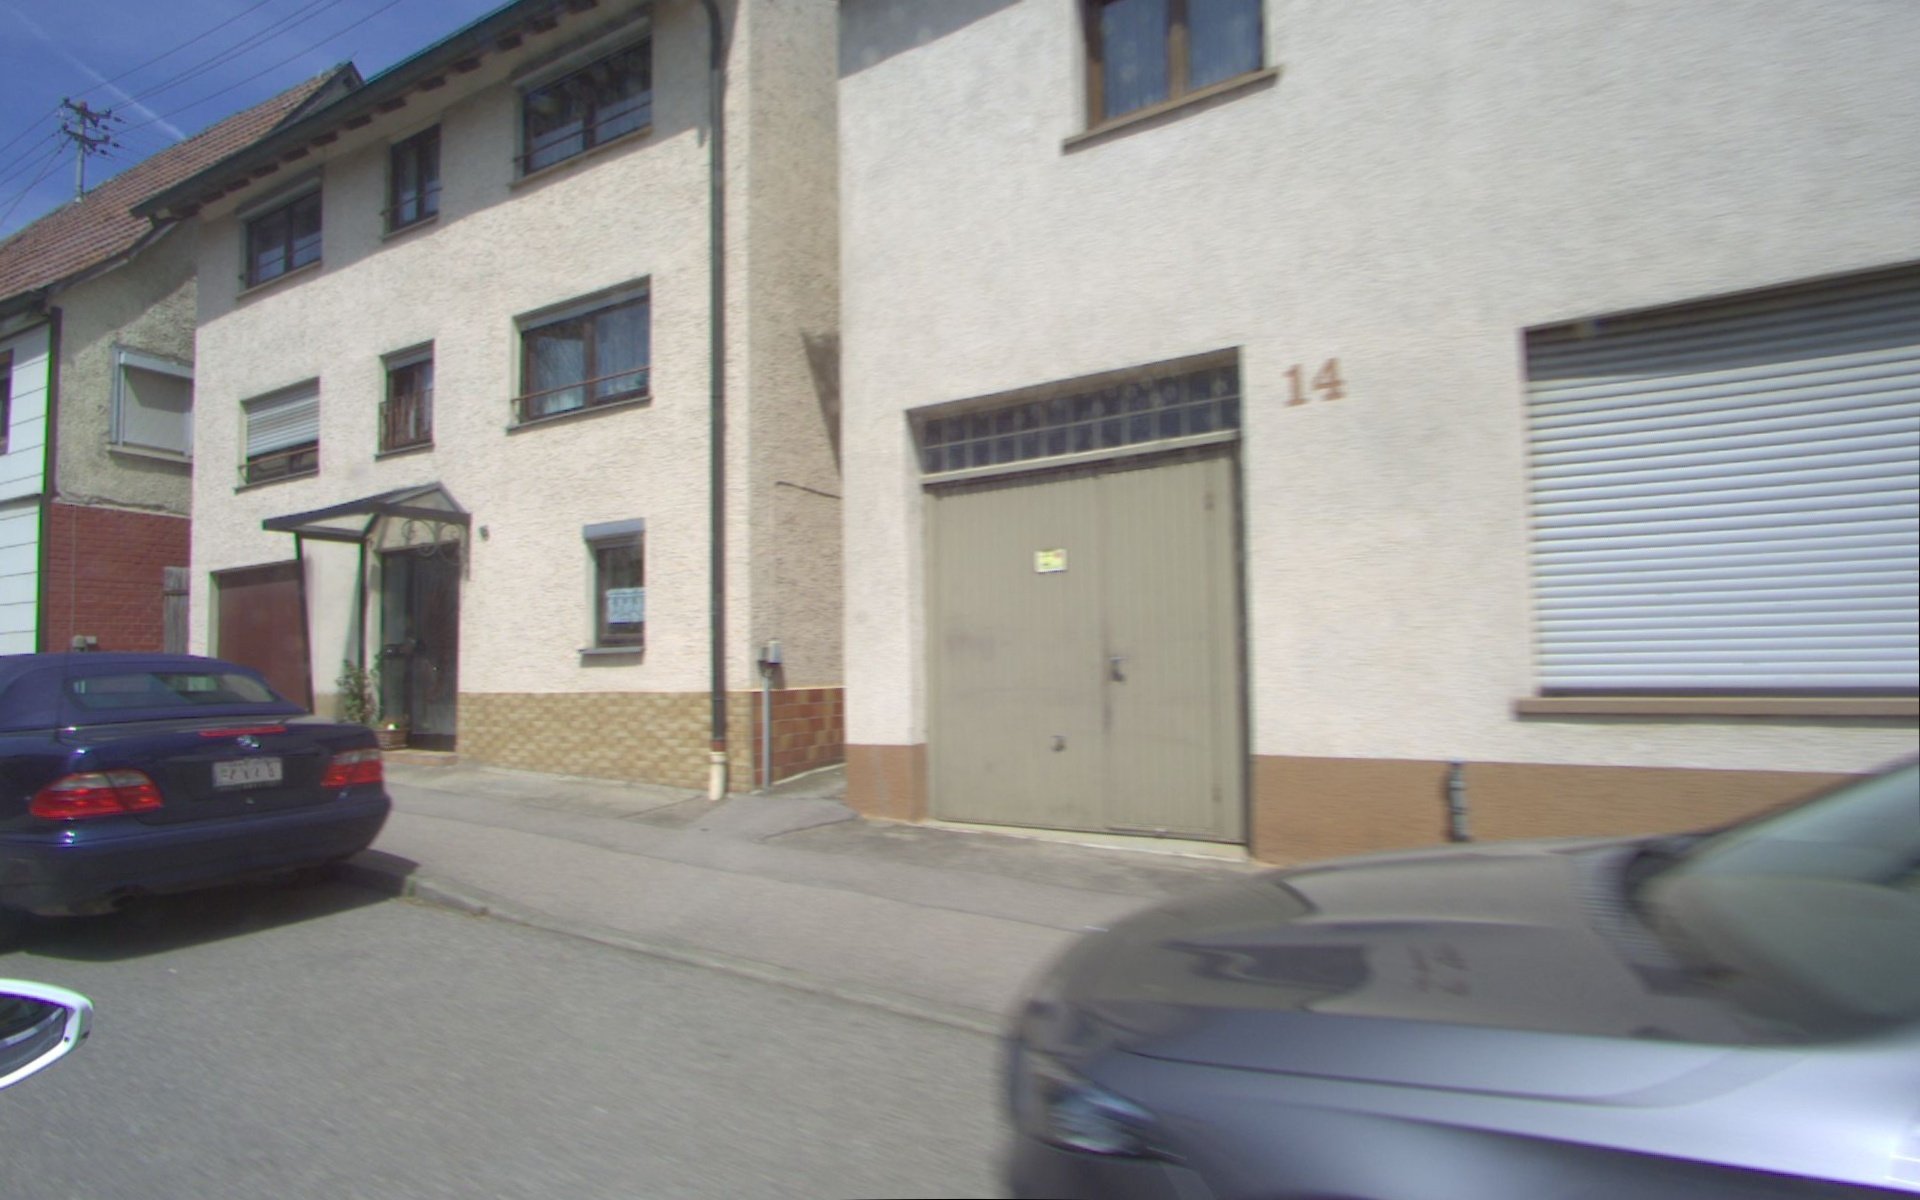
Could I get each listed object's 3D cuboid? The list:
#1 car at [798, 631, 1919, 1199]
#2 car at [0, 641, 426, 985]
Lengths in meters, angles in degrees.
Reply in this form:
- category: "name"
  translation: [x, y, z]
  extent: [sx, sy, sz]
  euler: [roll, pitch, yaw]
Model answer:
- category: "car"
  translation: [2.028, 0.764, 1.315]
  extent: [4.348, 1.421, 1.791]
  euler: [-1, -1, 32]
- category: "car"
  translation: [-5.163, 0.937, 5.815]
  extent: [4.123, 1.369, 1.665]
  euler: [-1, -3, 29]
